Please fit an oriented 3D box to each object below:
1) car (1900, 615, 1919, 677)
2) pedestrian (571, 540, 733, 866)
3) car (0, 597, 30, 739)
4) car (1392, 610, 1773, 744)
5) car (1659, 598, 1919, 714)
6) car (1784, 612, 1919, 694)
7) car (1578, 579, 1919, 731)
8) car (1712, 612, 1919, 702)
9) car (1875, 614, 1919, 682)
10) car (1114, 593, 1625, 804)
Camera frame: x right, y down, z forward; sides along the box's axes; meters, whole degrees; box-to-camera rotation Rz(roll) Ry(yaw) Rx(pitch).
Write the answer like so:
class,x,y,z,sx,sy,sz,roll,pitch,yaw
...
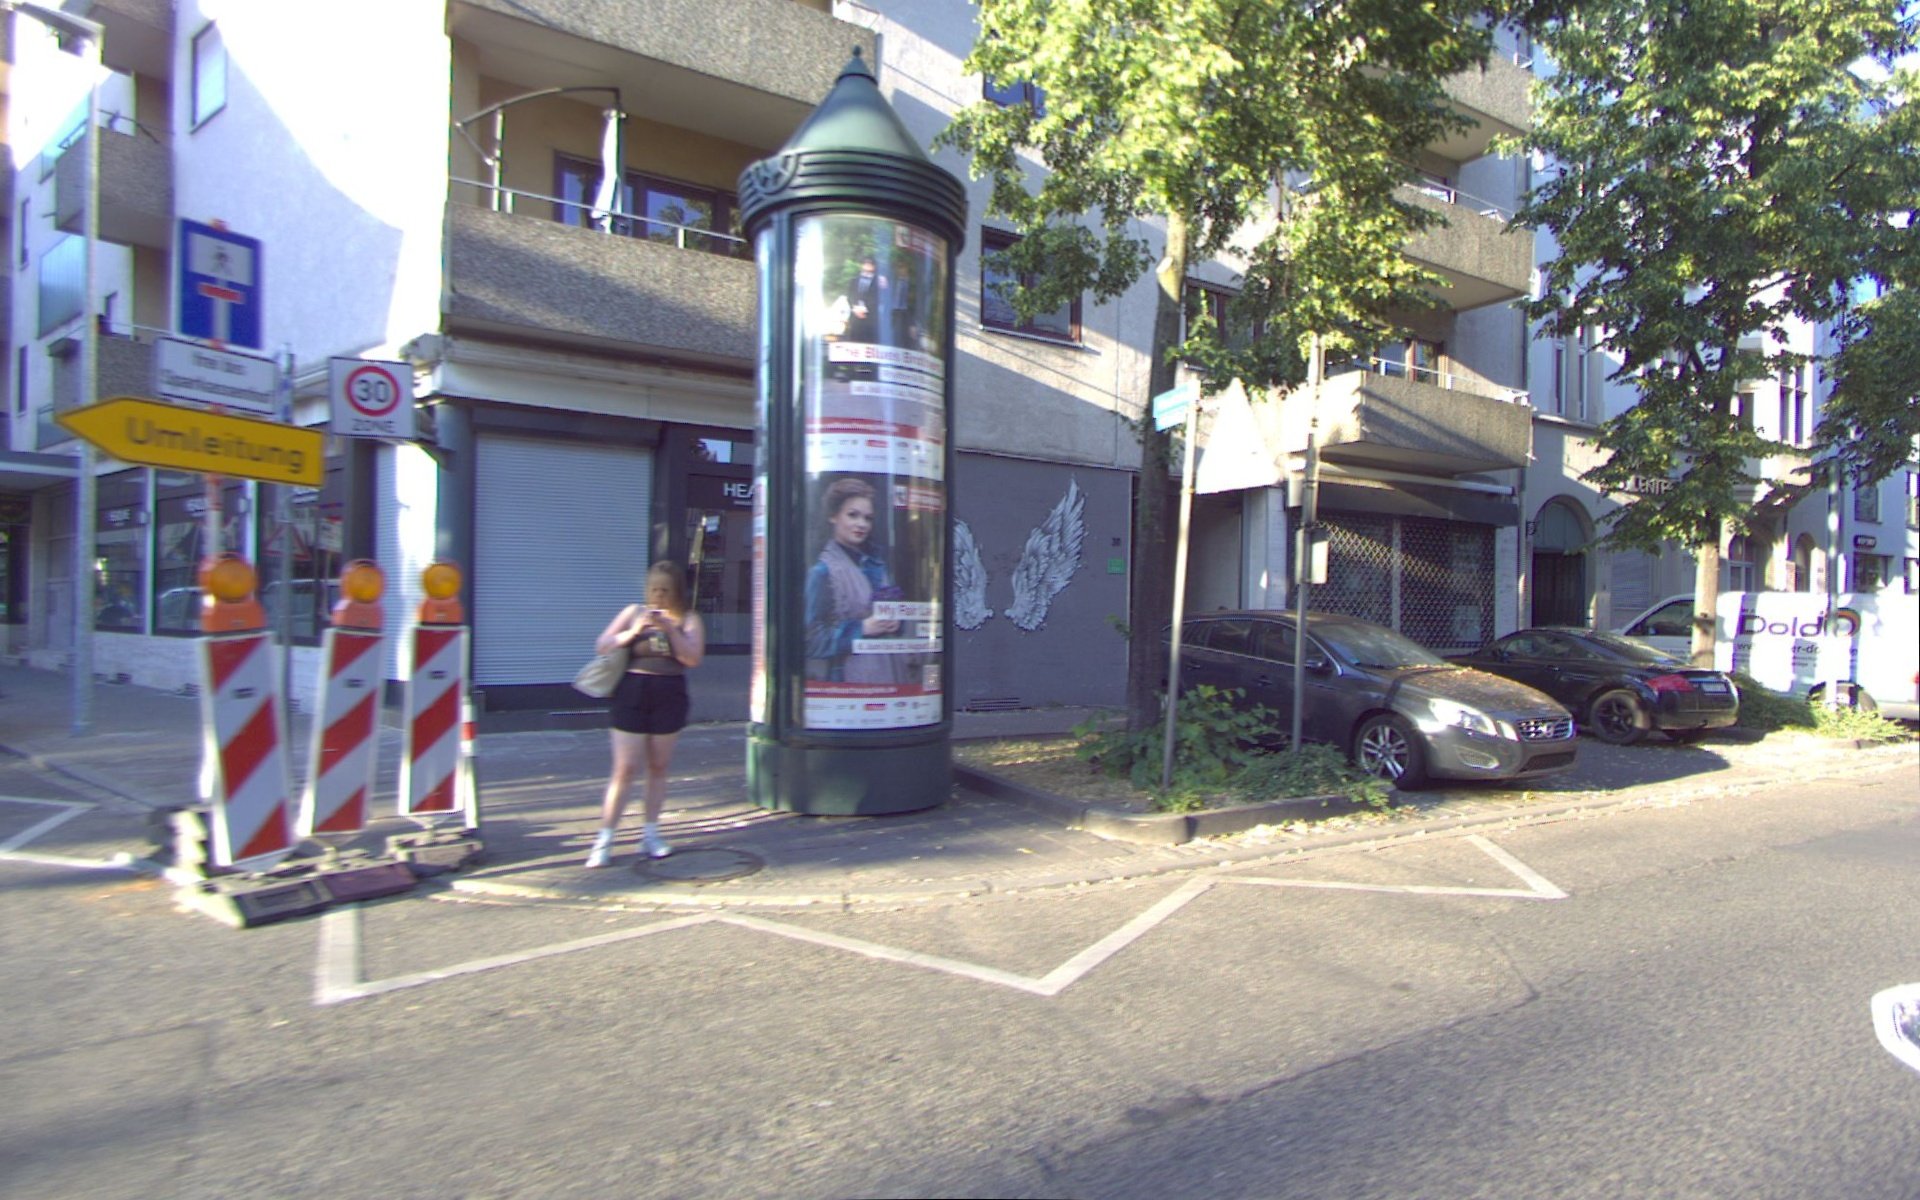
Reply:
class,x,y,z,sx,sy,sz,roll,pitch,yaw
car,24.761,1.141,22.969,1.837,1.478,4.423,1,0,-29
pedestrian,-1.776,0.548,5.757,0.821,1.709,0.709,1,0,-21
car,-11.514,0.643,10.483,4.142,1.398,1.992,0,-1,38
car,7.977,0.902,13.248,2.017,1.410,3.777,2,0,-26
car,14.692,0.867,16.746,2.035,1.720,4.551,1,0,-29
car,19.022,1.048,19.419,1.822,1.526,4.423,1,0,-29
car,12.410,0.721,15.450,1.967,1.988,4.550,1,0,-30
car,16.753,1.018,18.422,1.758,1.487,4.423,1,0,-29
car,22.906,1.106,21.617,1.787,1.504,4.423,1,0,-29
car,3.682,0.747,9.959,1.790,1.562,4.523,1,0,-30
